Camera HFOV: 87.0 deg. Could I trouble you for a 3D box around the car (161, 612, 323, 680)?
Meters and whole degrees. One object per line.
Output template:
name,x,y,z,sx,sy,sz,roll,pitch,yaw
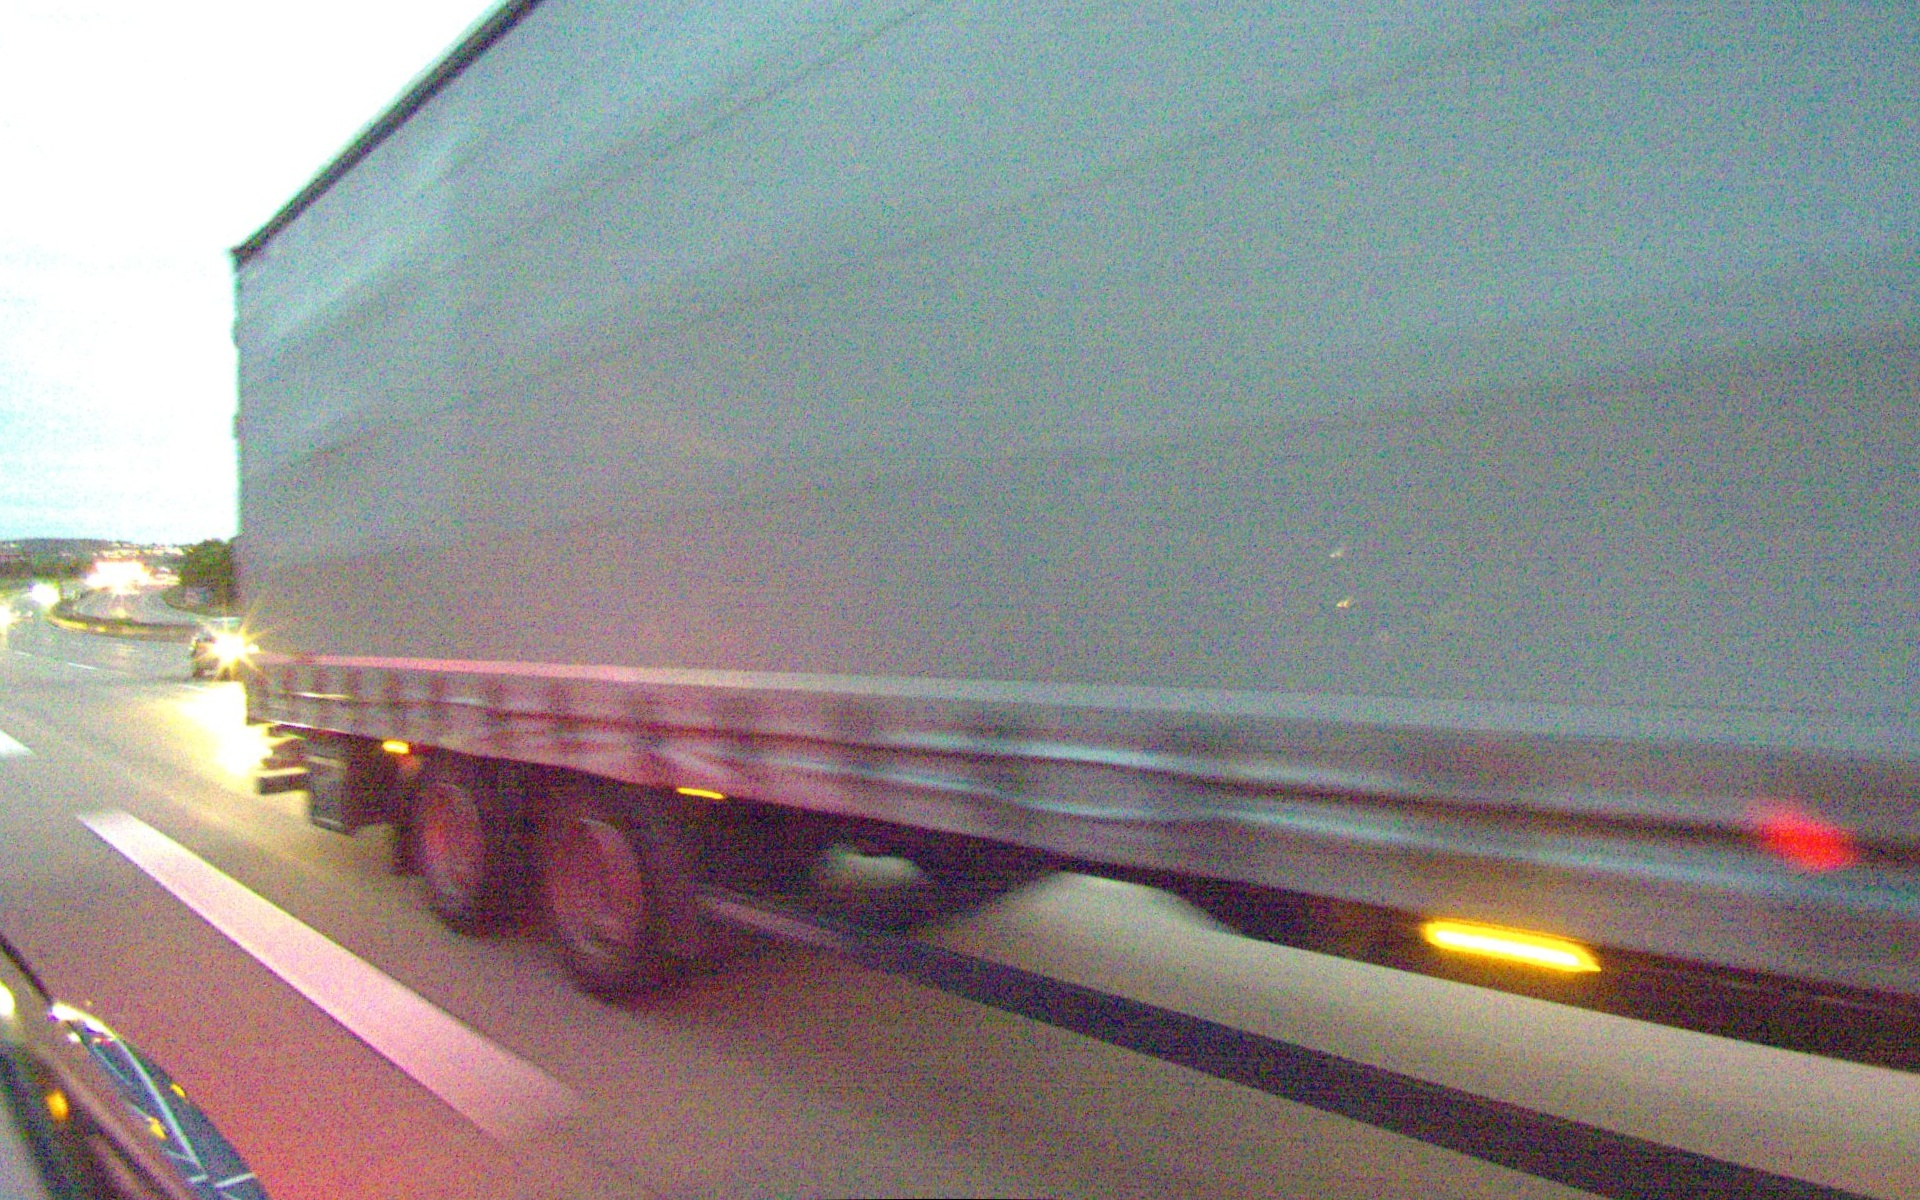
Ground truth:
car,-17.853,1.090,25.098,4.540,1.509,1.975,-1,0,37

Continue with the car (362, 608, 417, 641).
car,-36.135,1.564,64.052,4.000,2.029,1.971,-1,-2,43

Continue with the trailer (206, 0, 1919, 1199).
trailer,1.270,-0.552,3.105,14.812,3.945,2.745,-1,-1,41
